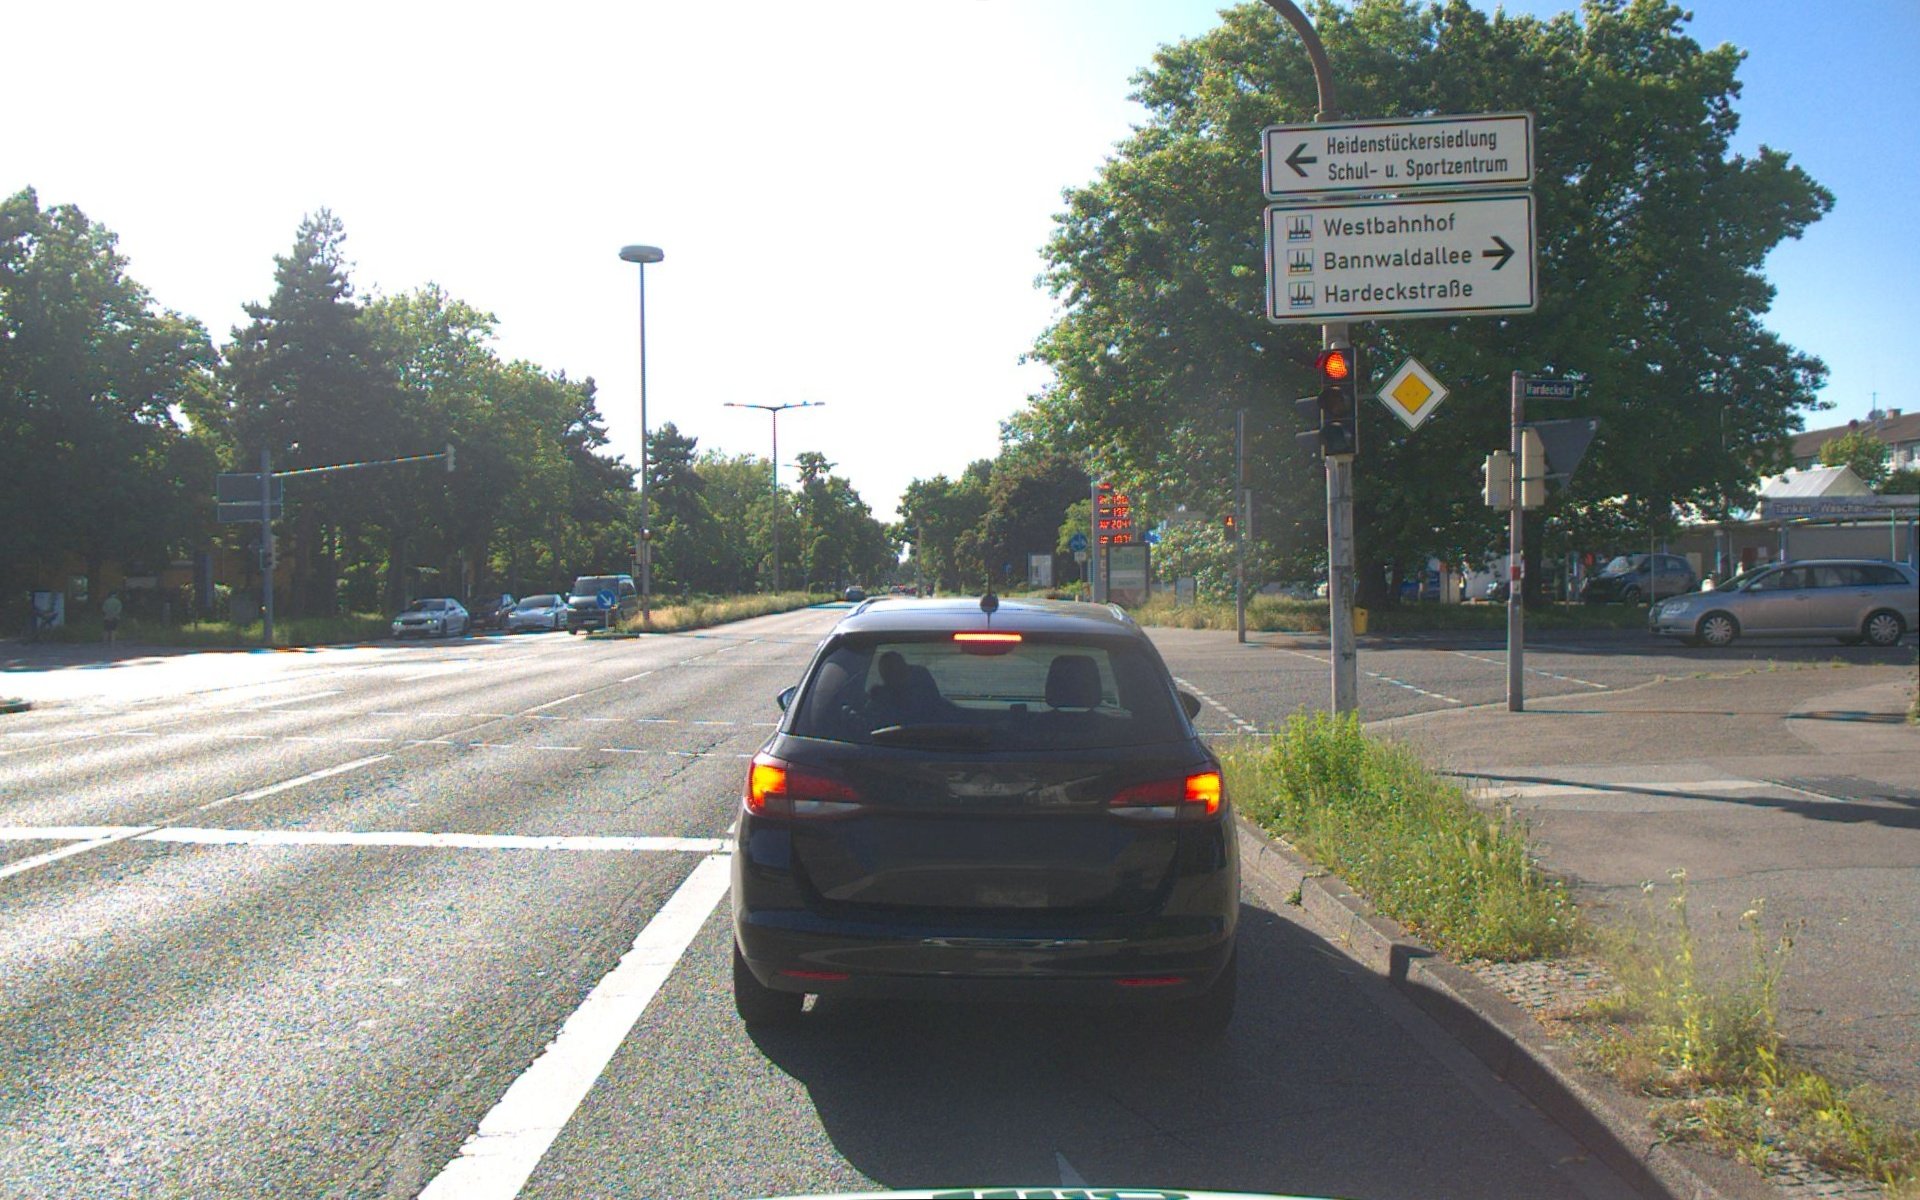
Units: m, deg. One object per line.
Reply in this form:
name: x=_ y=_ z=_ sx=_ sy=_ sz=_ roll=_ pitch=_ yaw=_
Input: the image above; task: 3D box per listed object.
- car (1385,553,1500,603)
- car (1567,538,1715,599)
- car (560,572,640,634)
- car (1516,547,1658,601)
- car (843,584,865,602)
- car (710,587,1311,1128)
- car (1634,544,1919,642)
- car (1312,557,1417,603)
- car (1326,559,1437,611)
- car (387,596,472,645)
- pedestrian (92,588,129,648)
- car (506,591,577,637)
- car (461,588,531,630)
car: x=16.640 y=-0.746 z=56.979 sx=3.800 sy=1.590 sz=1.785 roll=1 pitch=0 yaw=-33
car: x=19.812 y=-0.896 z=48.138 sx=3.779 sy=1.640 sz=1.794 roll=1 pitch=0 yaw=-20
car: x=-12.602 y=0.105 z=58.178 sx=1.953 sy=2.049 sz=3.999 roll=1 pitch=0 yaw=-1
car: x=18.959 y=-0.772 z=50.035 sx=3.779 sy=1.508 sz=1.794 roll=1 pitch=0 yaw=-20
car: x=-9.604 y=-0.641 z=150.010 sx=1.850 sy=1.579 sz=3.999 roll=-1 pitch=0 yaw=-1
car: x=0.113 y=0.737 z=6.639 sx=1.720 sy=1.535 sz=3.807 roll=0 pitch=0 yaw=-1
car: x=14.492 y=-0.097 z=29.141 sx=4.519 sy=1.601 sz=2.002 roll=-1 pitch=-1 yaw=10
car: x=15.893 y=-0.770 z=65.107 sx=3.638 sy=1.714 sz=1.703 roll=1 pitch=0 yaw=-4
car: x=15.121 y=-0.526 z=59.256 sx=3.668 sy=1.714 sz=1.689 roll=1 pitch=0 yaw=-28
car: x=-19.693 y=0.744 z=61.574 sx=1.826 sy=1.713 sz=4.259 roll=1 pitch=0 yaw=-1
pedestrian: x=-26.873 y=0.573 z=52.311 sx=0.828 sy=1.867 sz=0.550 roll=-1 pitch=0 yaw=3
car: x=-16.519 y=0.536 z=65.468 sx=1.826 sy=1.713 sz=3.999 roll=1 pitch=0 yaw=-1
car: x=-20.076 y=0.373 z=71.693 sx=1.953 sy=1.780 sz=3.999 roll=0 pitch=0 yaw=-1
